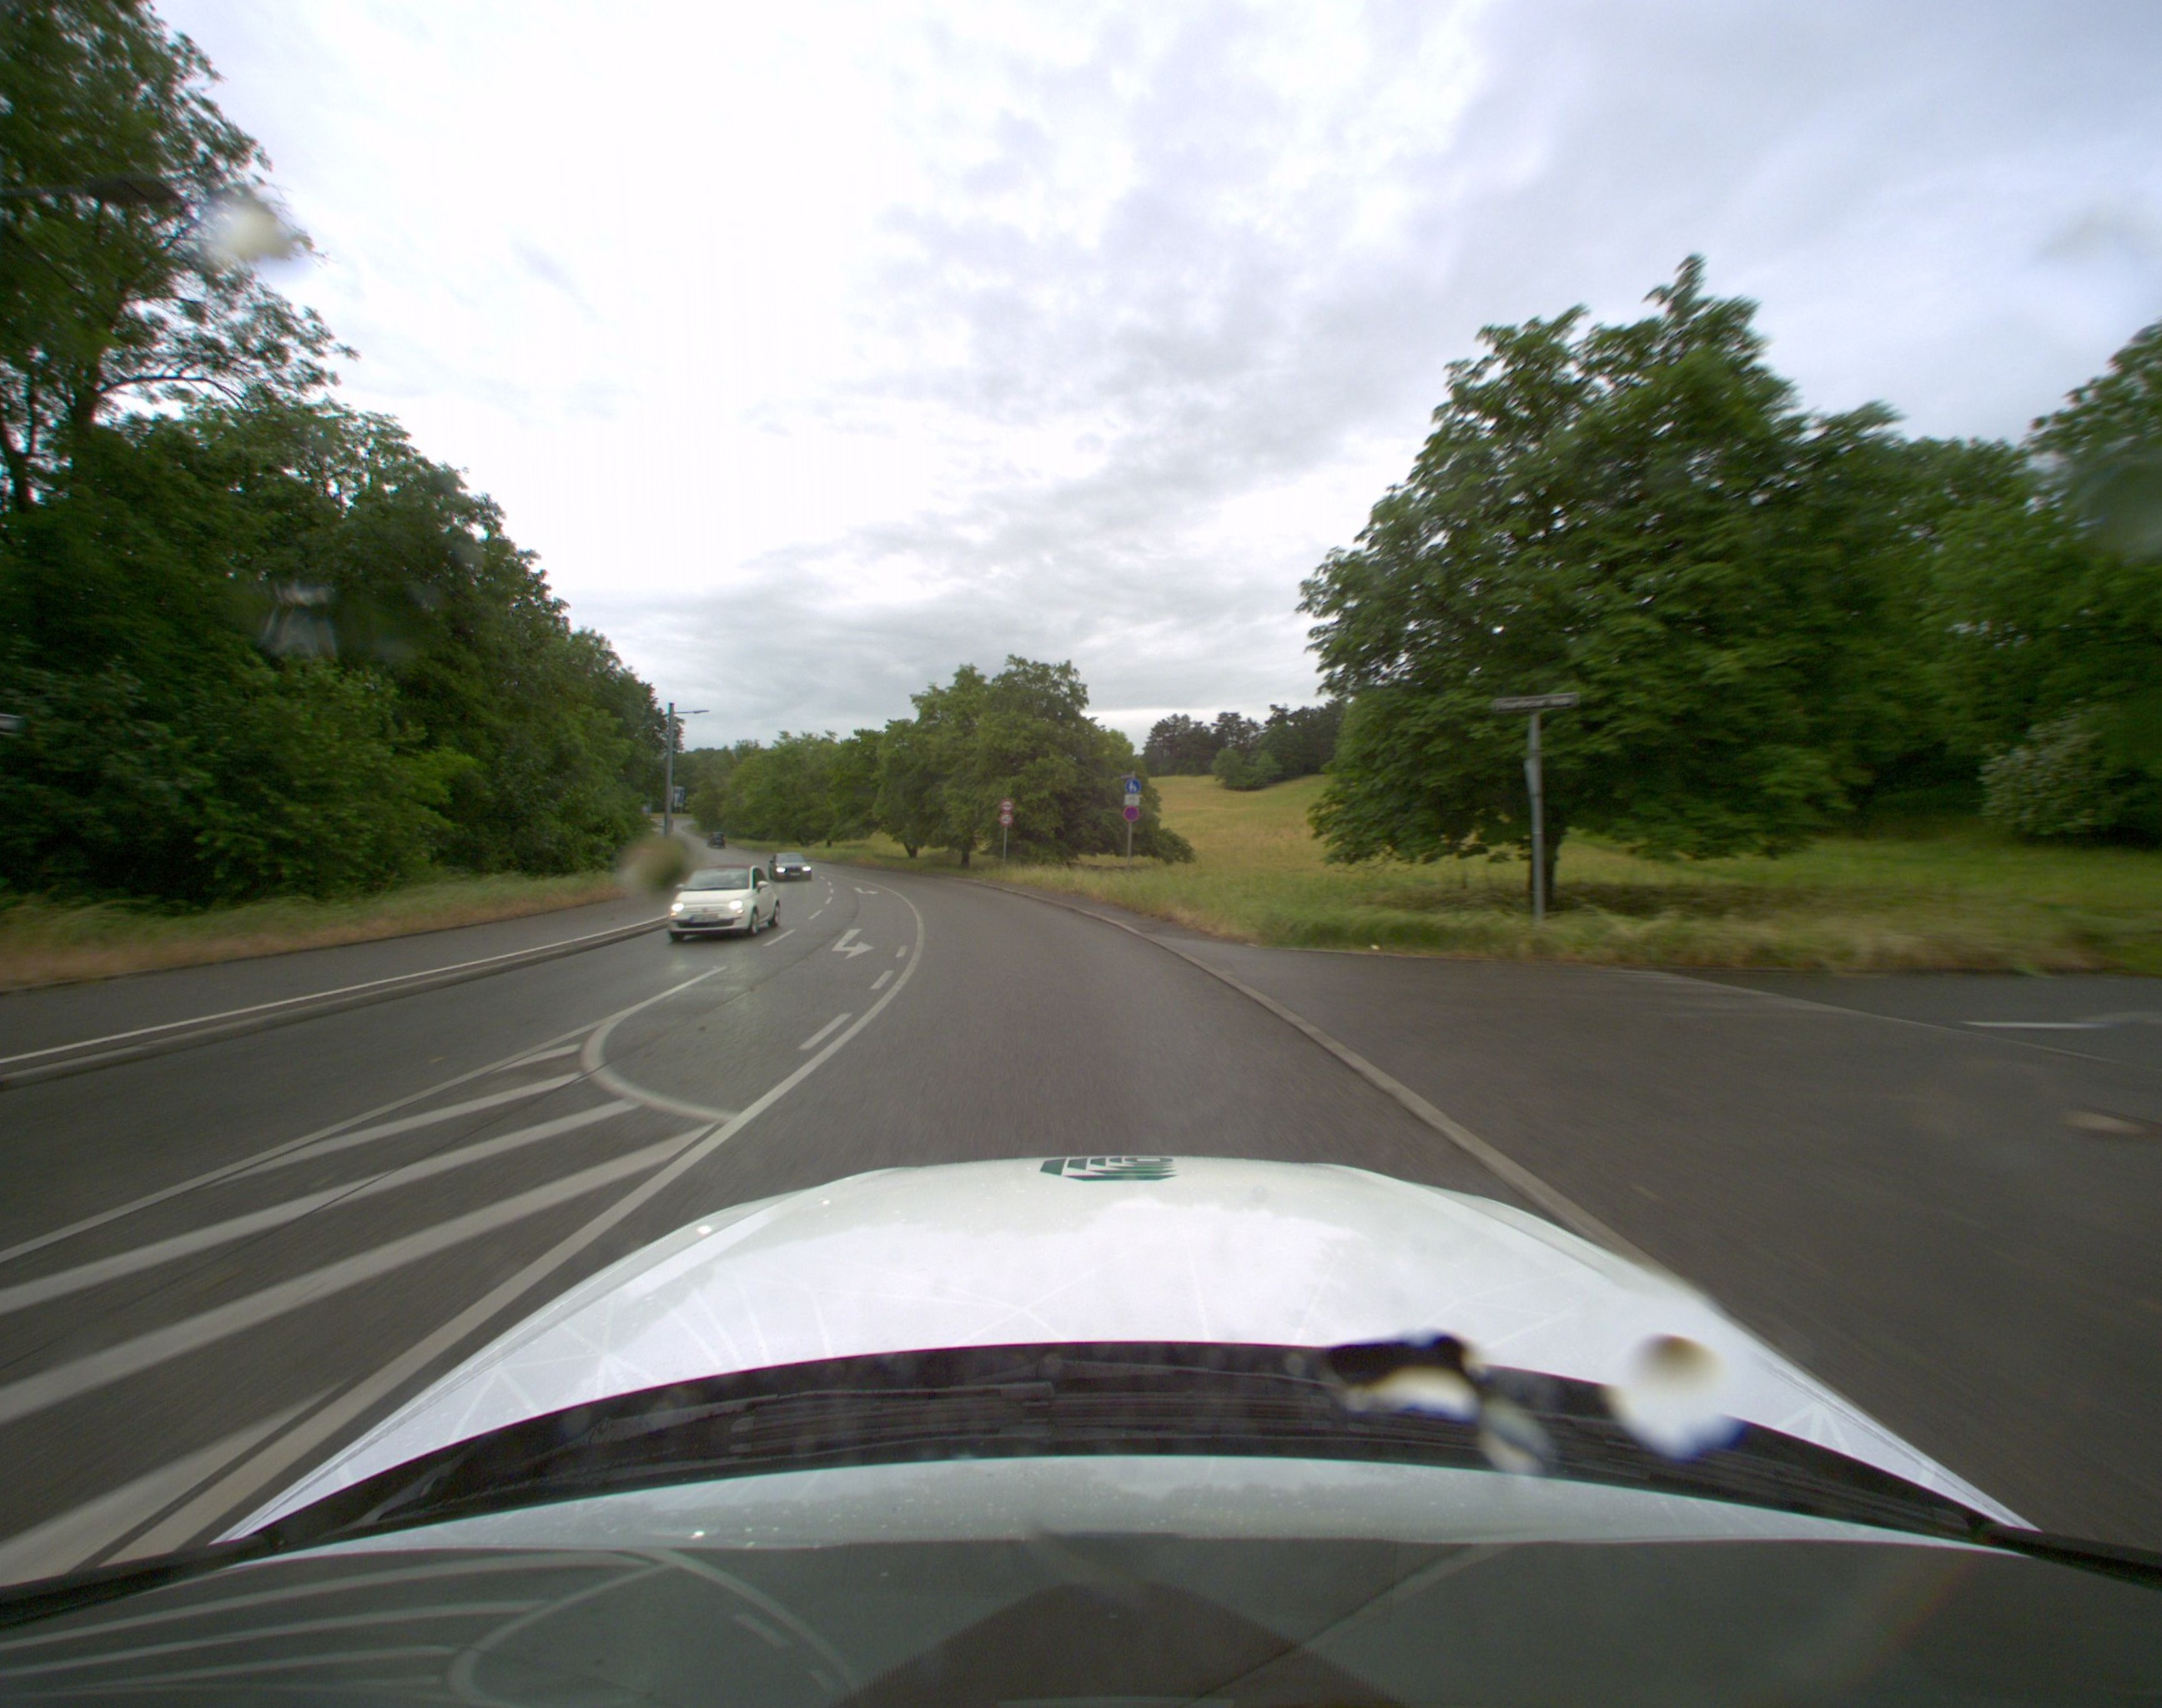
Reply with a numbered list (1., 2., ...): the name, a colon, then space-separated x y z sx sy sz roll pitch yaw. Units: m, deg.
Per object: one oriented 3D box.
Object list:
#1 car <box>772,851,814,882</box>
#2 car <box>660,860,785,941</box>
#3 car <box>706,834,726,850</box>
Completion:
1. car: -15.666 0.661 44.192 1.854 1.501 4.596 -2 0 -22
2. car: -7.606 0.913 17.638 1.566 1.477 3.655 -2 0 -9
3. car: -44.204 -1.436 98.547 1.753 1.716 3.961 2 1 -31
